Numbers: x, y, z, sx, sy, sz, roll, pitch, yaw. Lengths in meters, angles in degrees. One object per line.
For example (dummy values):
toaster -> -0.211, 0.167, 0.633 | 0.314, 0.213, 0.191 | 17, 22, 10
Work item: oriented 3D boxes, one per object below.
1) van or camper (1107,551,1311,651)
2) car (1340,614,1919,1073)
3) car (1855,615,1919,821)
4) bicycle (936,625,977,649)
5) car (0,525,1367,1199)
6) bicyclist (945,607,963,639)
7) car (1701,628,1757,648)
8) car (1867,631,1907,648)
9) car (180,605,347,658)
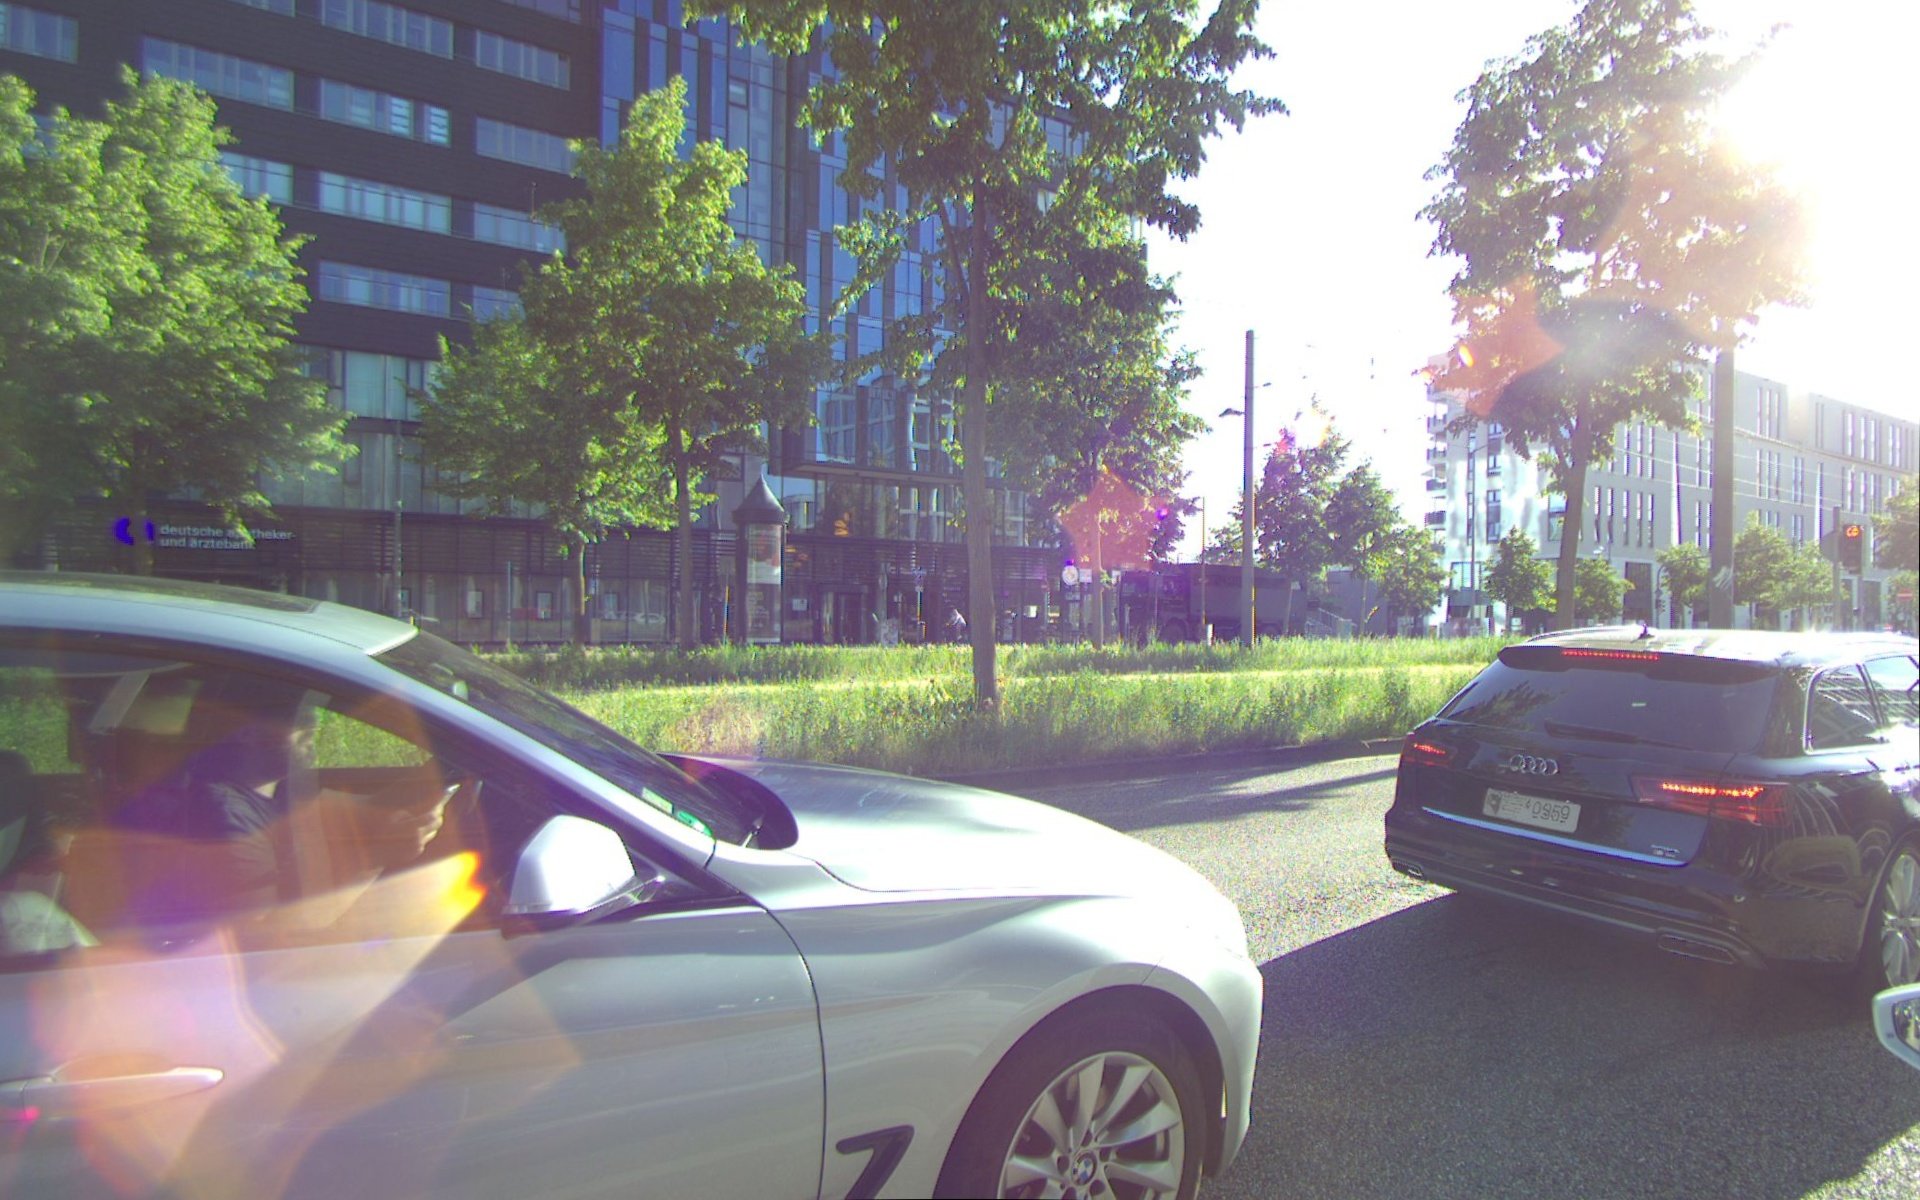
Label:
van or camper -> 11.636, 0.167, 46.403 | 10.109, 4.248, 2.740 | 2, -1, -30
car -> 4.195, 0.847, 5.197 | 4.455, 1.476, 1.799 | 1, -1, -31
car -> 9.267, 0.932, 8.150 | 4.063, 1.548, 1.800 | 1, -1, -30
bicycle -> -0.164, 1.690, 45.589 | 1.826, 1.047, 0.525 | 2, 0, -31
car -> -1.497, 0.674, 1.921 | 4.689, 1.508, 1.799 | 1, -1, -31
bicyclist -> -0.280, 1.041, 45.512 | 0.619, 1.425, 0.490 | 2, 0, -30
car -> 53.294, 2.649, 69.616 | 4.420, 1.360, 1.572 | 2, -1, -31
car -> 79.273, 3.359, 85.908 | 3.669, 1.360, 1.572 | 2, -1, -31
car -> -21.103, 0.936, 30.632 | 3.950, 1.525, 1.745 | 1, -1, -29
